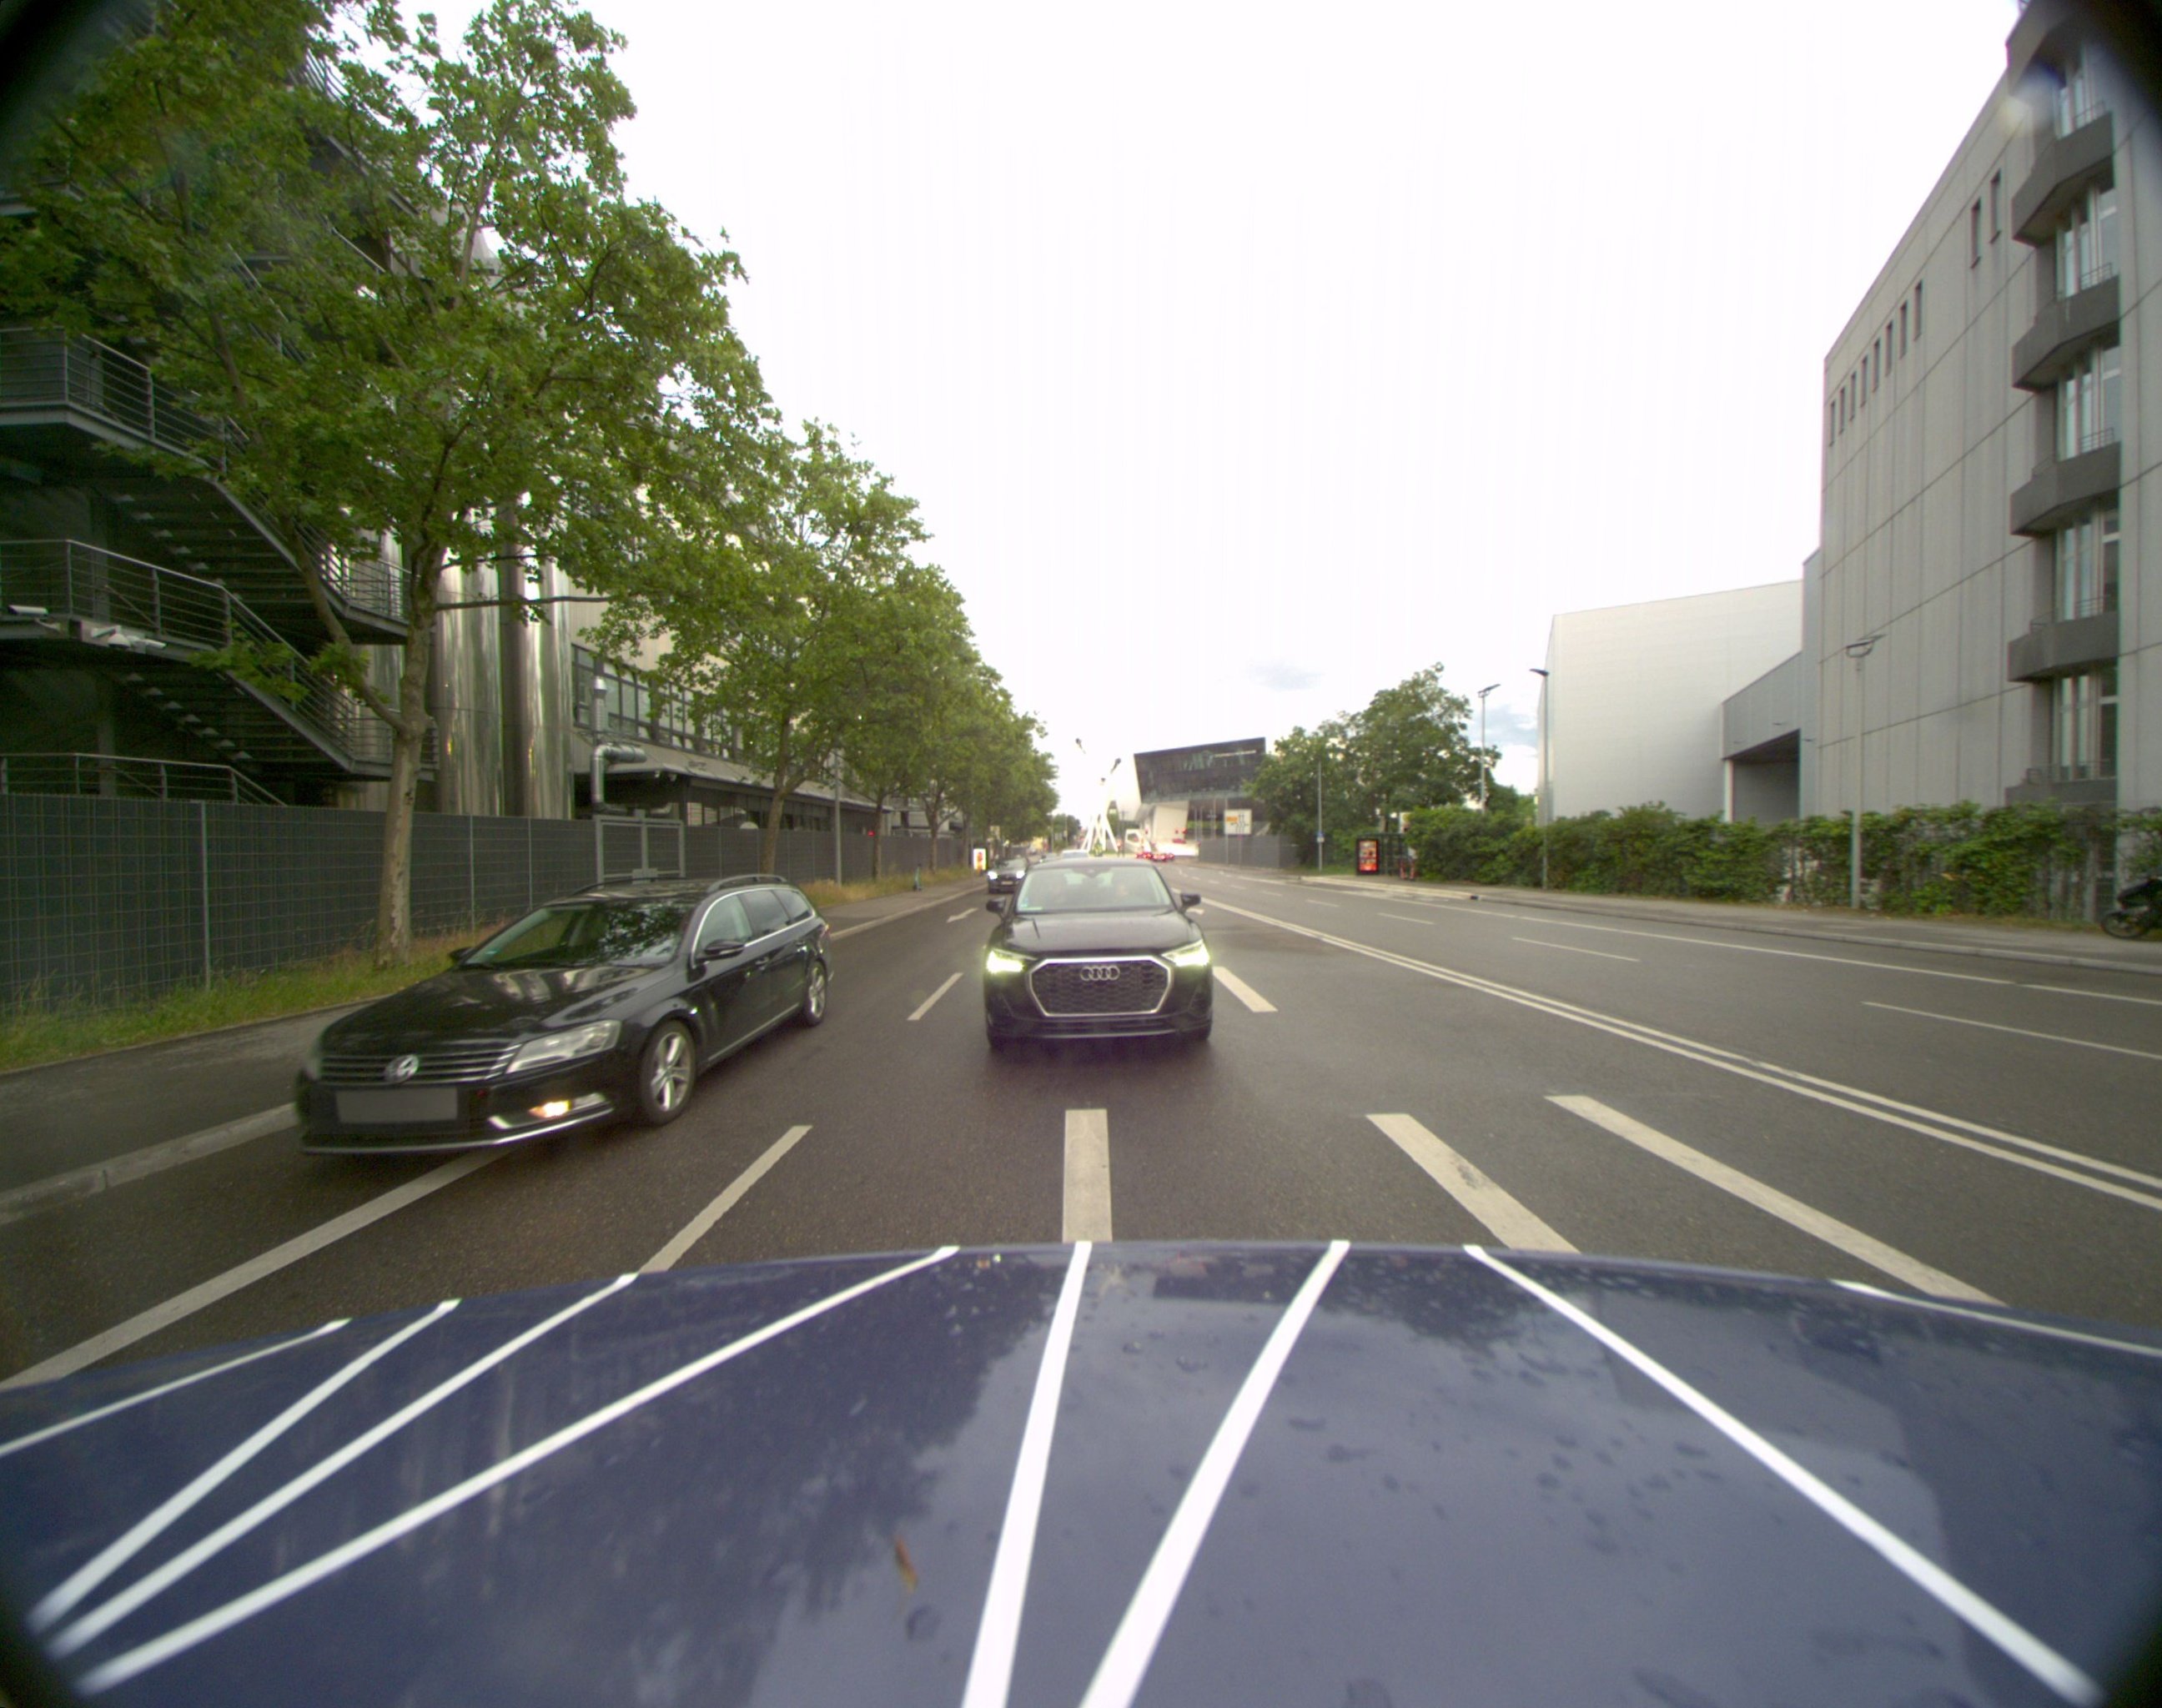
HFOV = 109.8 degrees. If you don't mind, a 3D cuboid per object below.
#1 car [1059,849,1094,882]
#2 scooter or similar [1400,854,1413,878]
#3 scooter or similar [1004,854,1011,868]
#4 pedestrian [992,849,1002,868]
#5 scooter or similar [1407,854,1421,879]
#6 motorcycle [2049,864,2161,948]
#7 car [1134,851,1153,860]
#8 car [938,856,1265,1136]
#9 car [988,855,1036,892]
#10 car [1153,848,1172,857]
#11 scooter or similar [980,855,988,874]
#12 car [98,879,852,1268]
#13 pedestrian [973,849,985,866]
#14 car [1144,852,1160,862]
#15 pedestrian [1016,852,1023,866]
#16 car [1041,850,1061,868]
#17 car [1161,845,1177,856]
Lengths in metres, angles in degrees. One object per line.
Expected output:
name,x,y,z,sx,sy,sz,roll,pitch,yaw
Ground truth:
car,-0.313,0.646,45.285,1.951,1.879,4.490,0,0,-1
scooter or similar,16.466,0.602,38.487,0.389,1.173,1.251,0,1,13
scooter or similar,-6.952,0.680,71.537,0.437,1.288,1.300,-1,1,3
pedestrian,-7.506,0.419,67.691,0.778,1.700,0.729,-1,1,-1
scooter or similar,16.258,0.620,37.091,0.379,1.174,1.379,0,1,14
motorcycle,16.687,0.795,11.699,0.786,1.243,2.157,-1,1,0
car,10.047,0.238,122.622,2.255,1.469,3.884,0,1,18
car,0.072,0.876,7.290,1.951,1.609,5.276,-2,0,-1
car,-3.108,0.851,34.887,1.951,1.610,4.072,0,0,-1
car,12.922,-0.260,120.678,2.267,1.469,4.052,0,1,18
scooter or similar,-7.004,0.743,54.821,0.329,1.301,1.246,-1,1,4
car,-3.339,1.031,5.695,1.842,1.444,4.785,-2,0,-1
pedestrian,-8.565,0.326,63.809,0.932,1.408,0.698,-1,1,-1
car,12.057,0.531,128.784,1.878,1.641,3.857,0,0,16
pedestrian,-7.090,0.549,87.826,0.723,1.610,0.833,1,2,-1
car,-3.066,0.478,78.071,1.951,1.767,4.490,0,0,-1
car,14.791,-0.595,127.547,1.862,1.641,3.792,0,0,19
